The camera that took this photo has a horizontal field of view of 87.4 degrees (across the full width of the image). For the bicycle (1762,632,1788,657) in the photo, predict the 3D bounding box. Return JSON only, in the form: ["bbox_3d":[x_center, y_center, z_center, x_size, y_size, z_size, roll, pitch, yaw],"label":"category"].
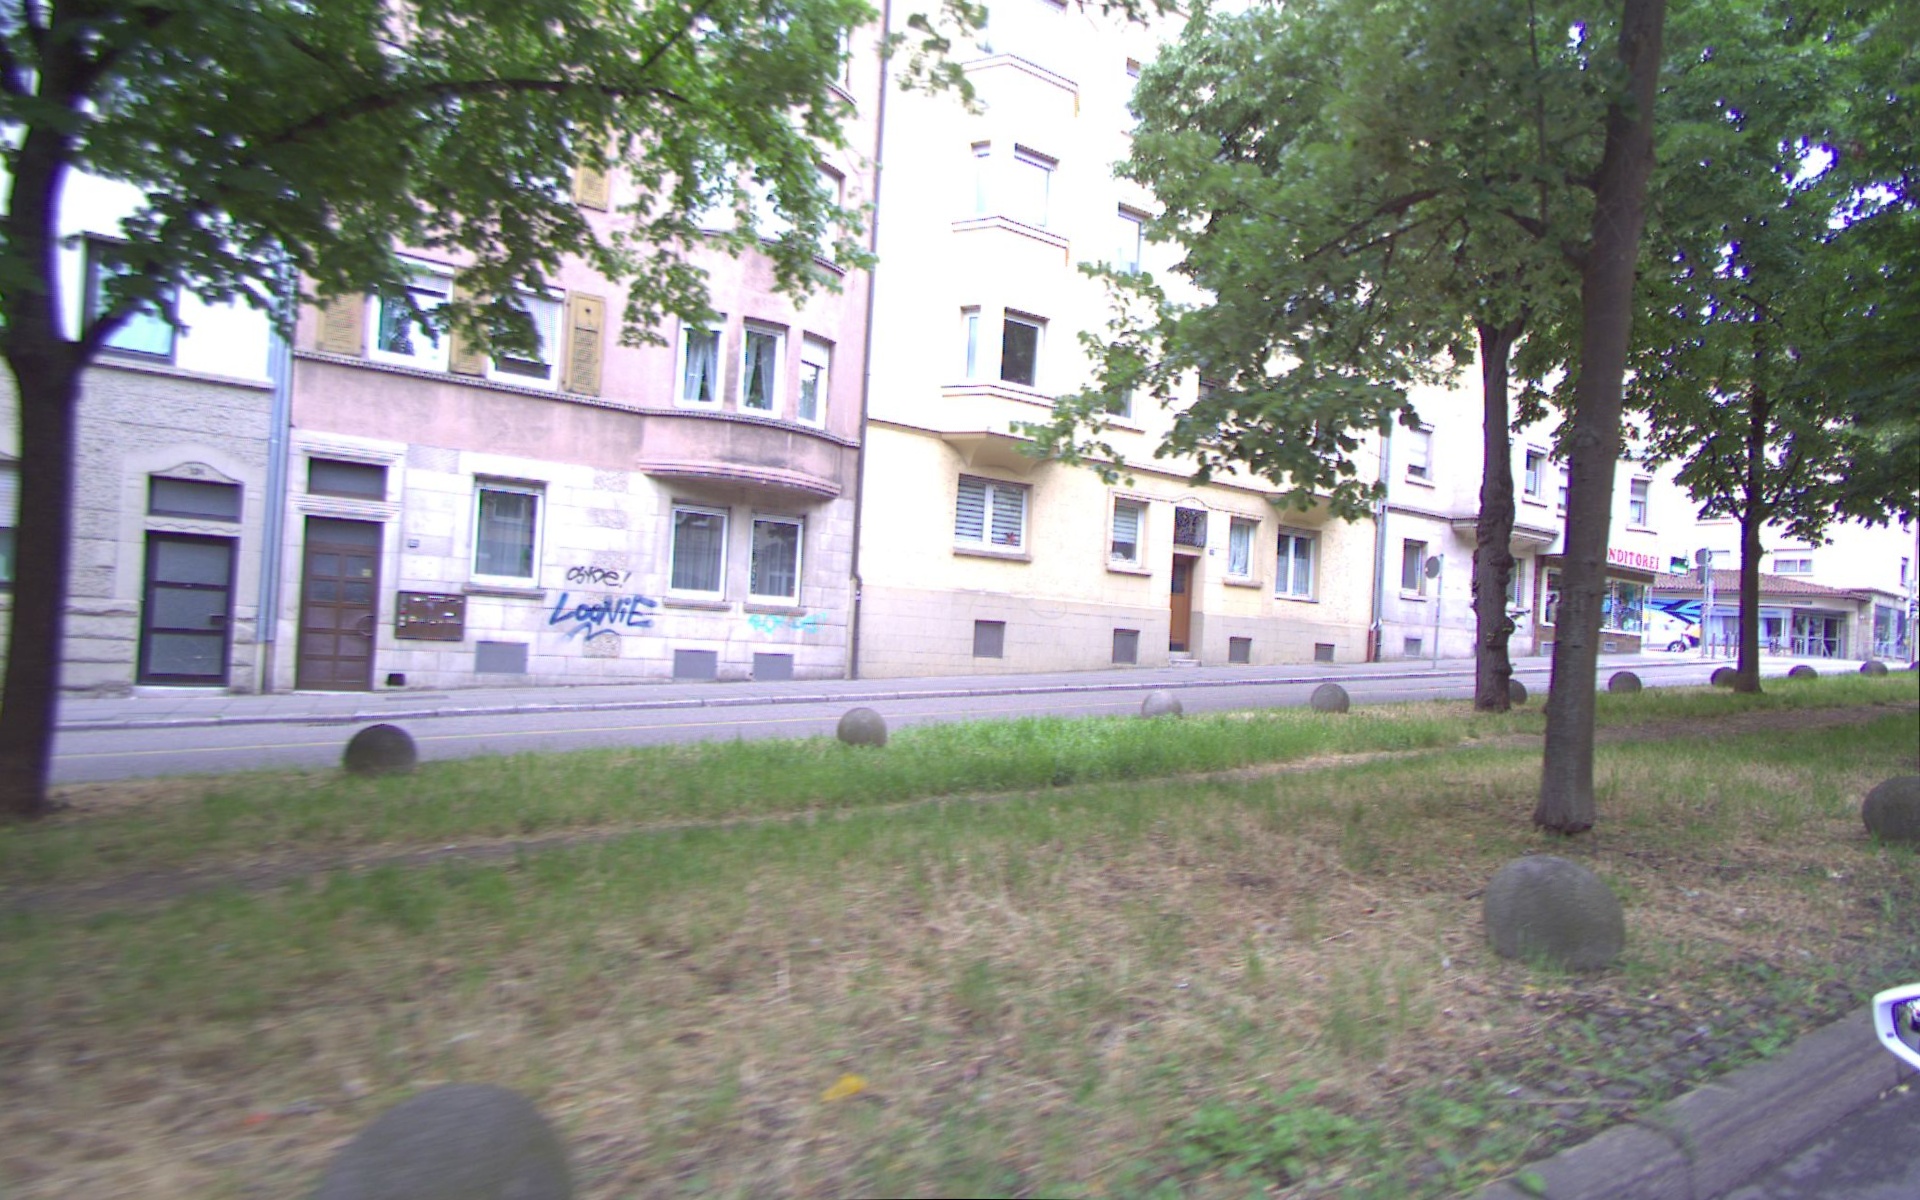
[{"bbox_3d":[38.361,2.100,47.302,0.752,1.099,2.031,4,0,35],"label":"bicycle"}]

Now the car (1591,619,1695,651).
[{"bbox_3d":[33.693,1.756,49.658,3.965,1.498,1.821,-1,-3,25],"label":"car"}]
